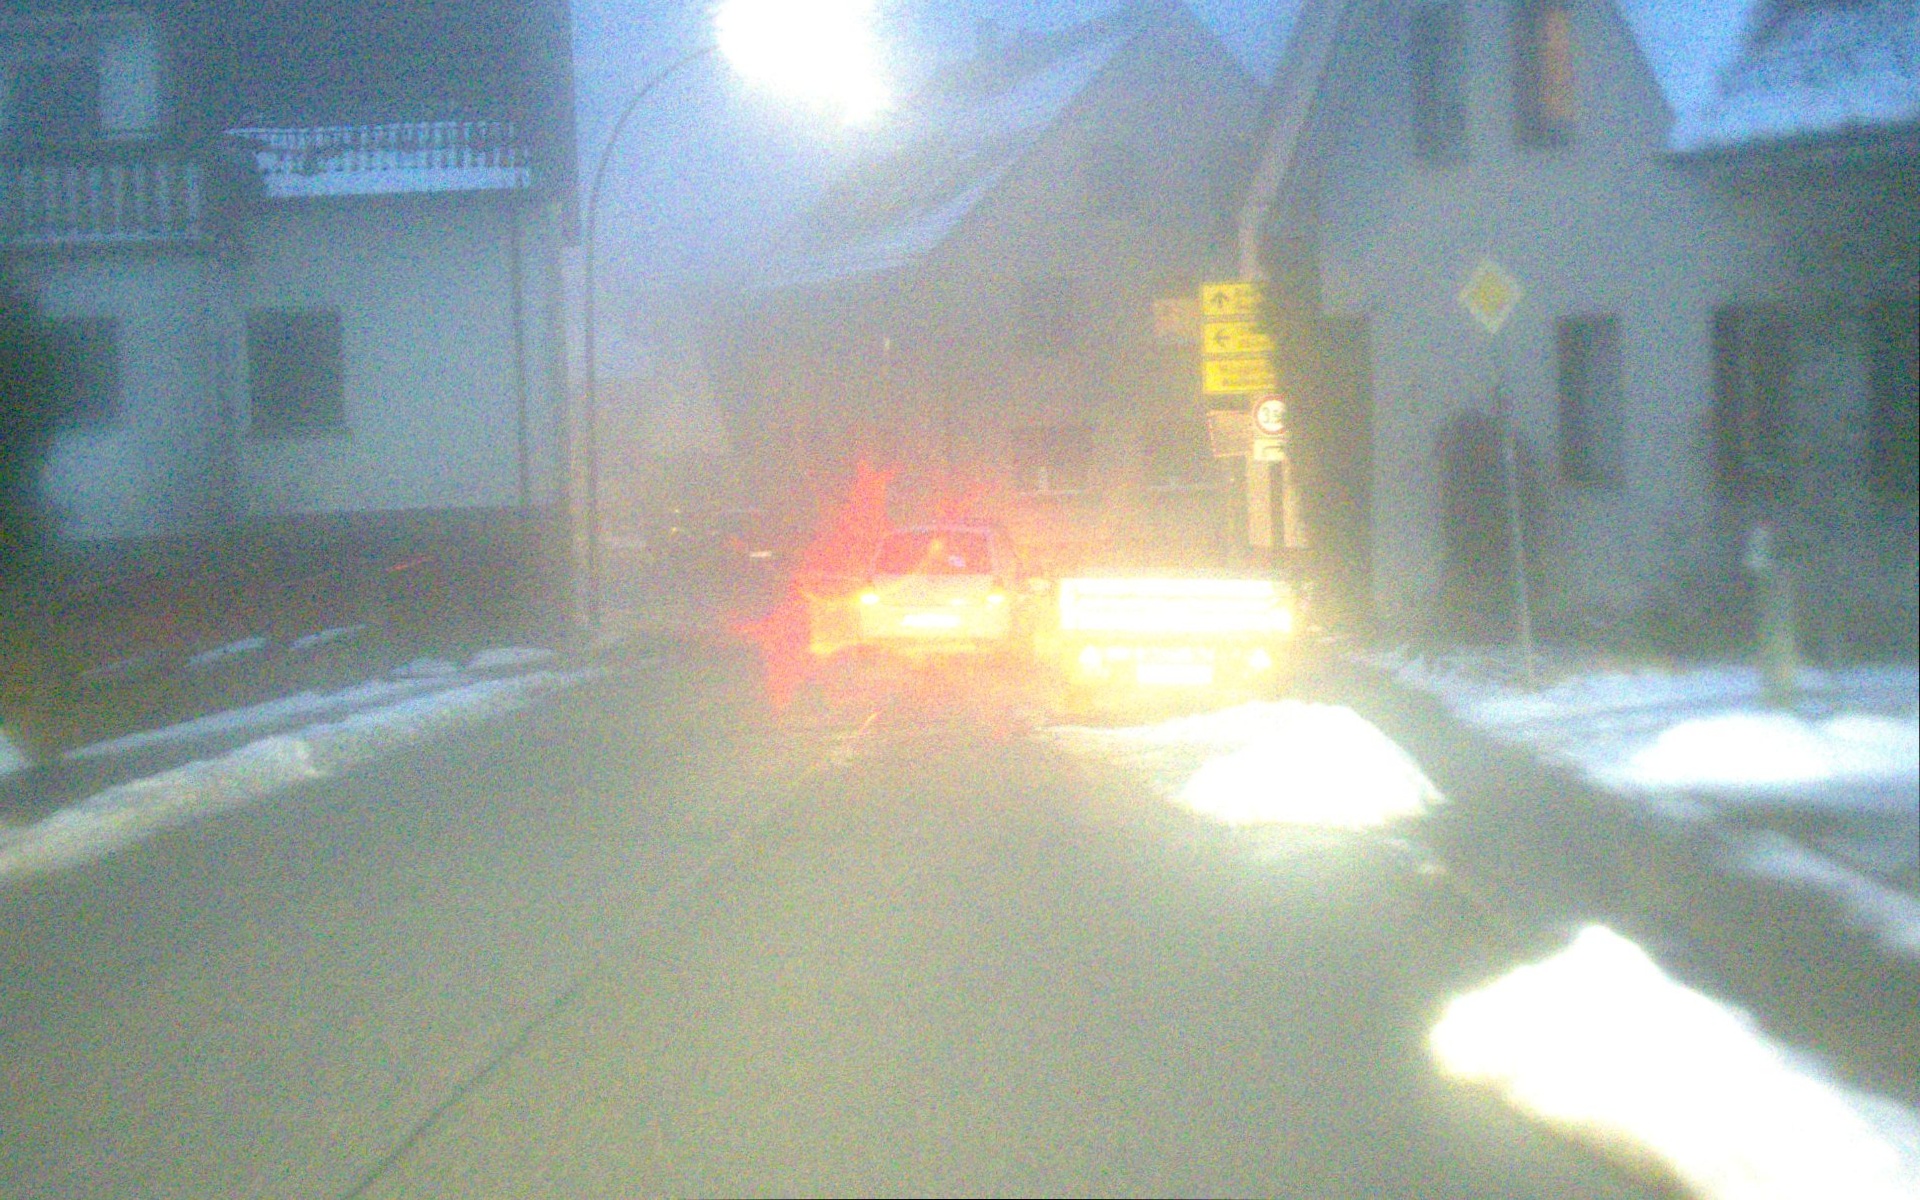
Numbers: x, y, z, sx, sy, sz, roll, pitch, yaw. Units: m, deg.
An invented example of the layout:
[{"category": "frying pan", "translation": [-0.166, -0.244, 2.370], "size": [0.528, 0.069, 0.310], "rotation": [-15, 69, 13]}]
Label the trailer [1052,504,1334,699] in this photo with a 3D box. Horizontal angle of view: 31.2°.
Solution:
[{"category": "trailer", "translation": [1.794, -0.056, 26.806], "size": [1.994, 1.383, 4.731], "rotation": [0, 2, 3]}]

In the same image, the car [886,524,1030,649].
[{"category": "car", "translation": [0.014, -0.195, 49.520], "size": [1.993, 1.722, 4.000], "rotation": [0, 0, 1]}]

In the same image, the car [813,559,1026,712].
[{"category": "car", "translation": [-0.359, 0.337, 35.801], "size": [1.994, 1.503, 4.000], "rotation": [0, 0, 3]}]

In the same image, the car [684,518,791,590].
[{"category": "car", "translation": [-5.012, -1.052, 76.867], "size": [1.910, 1.476, 4.283], "rotation": [-2, 2, -10]}]
